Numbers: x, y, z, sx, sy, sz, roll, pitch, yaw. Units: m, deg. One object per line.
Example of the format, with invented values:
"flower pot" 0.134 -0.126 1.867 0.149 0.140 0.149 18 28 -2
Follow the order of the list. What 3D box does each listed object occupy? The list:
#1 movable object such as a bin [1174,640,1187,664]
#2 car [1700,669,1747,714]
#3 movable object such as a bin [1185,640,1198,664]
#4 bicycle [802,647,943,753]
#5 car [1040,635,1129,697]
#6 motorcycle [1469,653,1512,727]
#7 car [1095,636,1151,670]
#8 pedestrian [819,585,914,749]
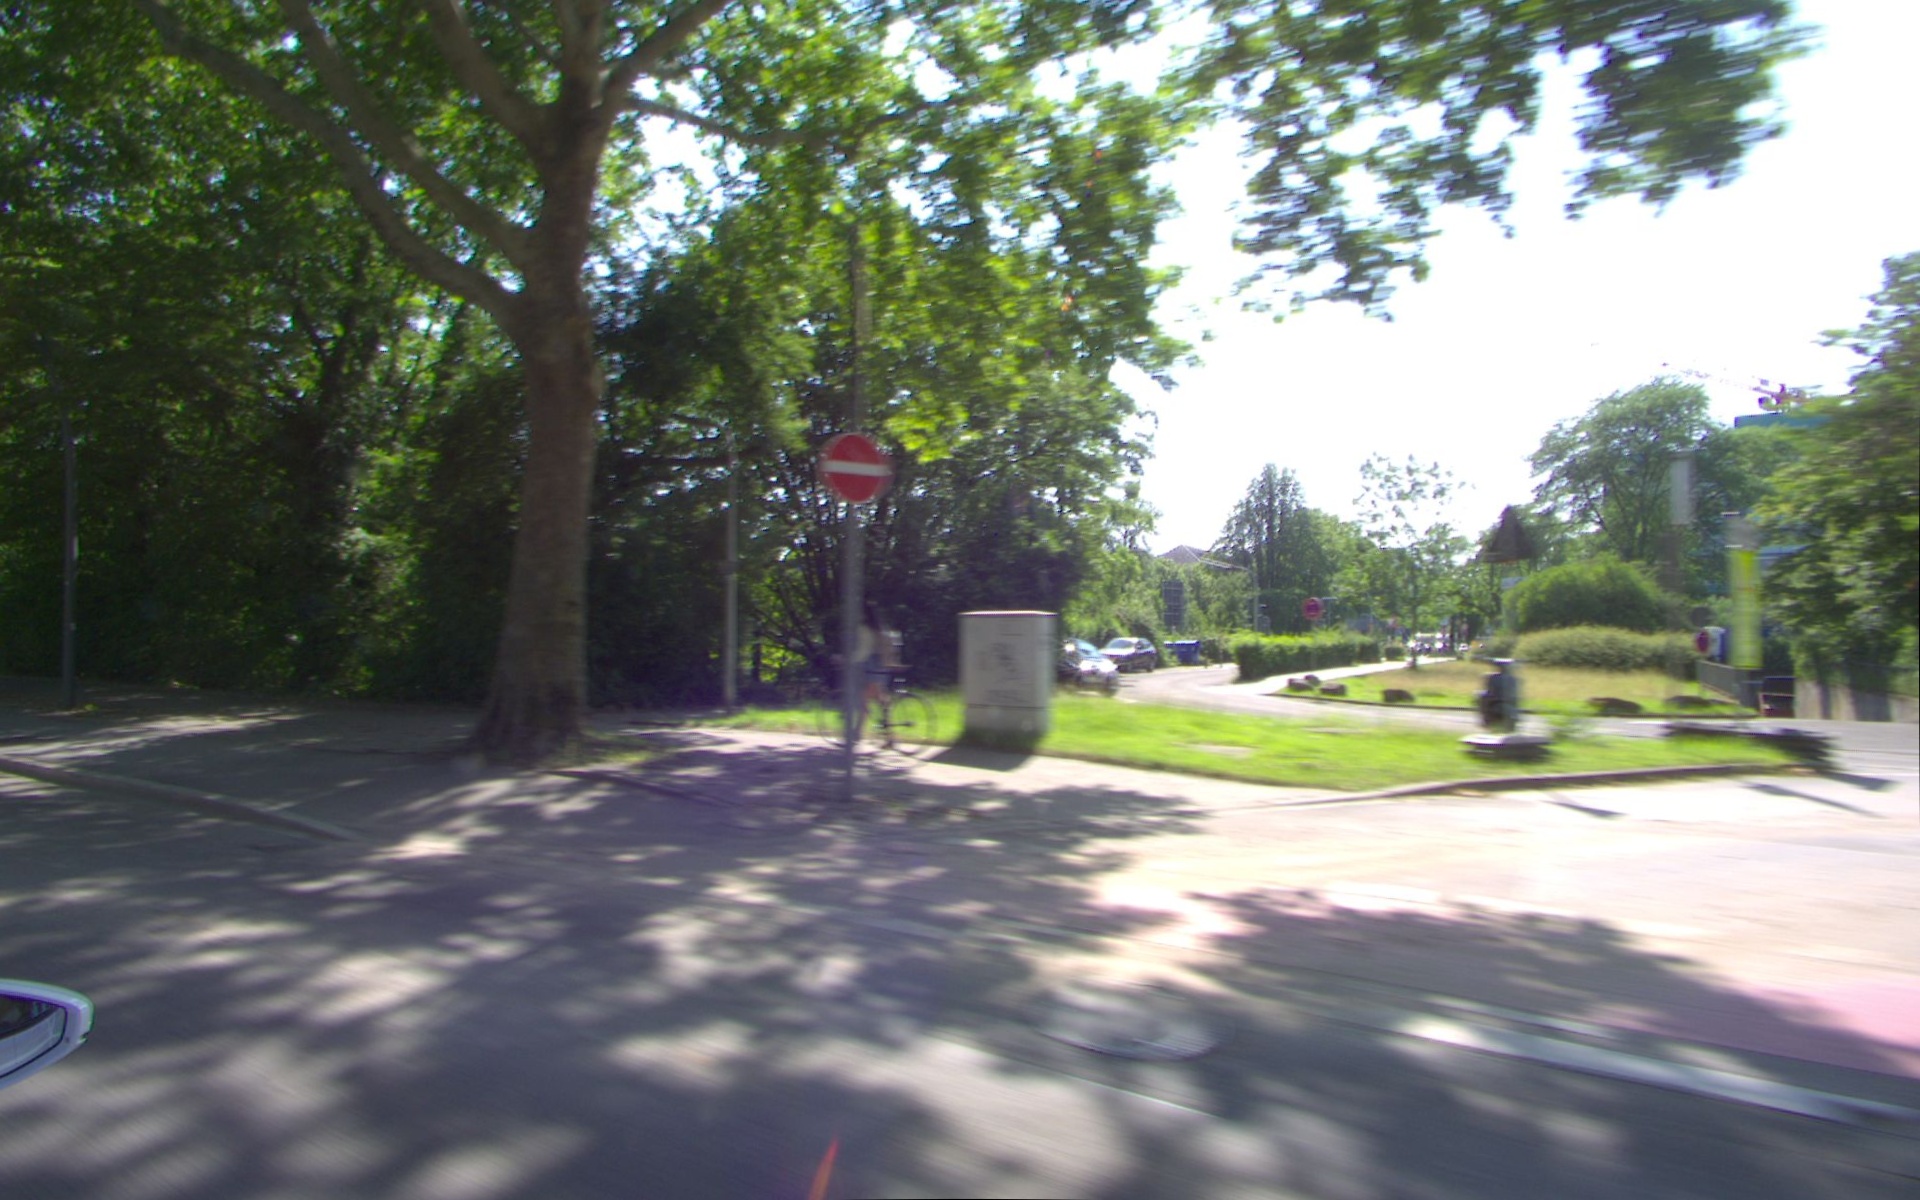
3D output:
"movable object such as a bin" 12.869 3.049 58.444 0.569 1.388 0.458 0 -1 39
"car" 43.213 5.139 56.753 1.745 2.343 4.499 0 -2 32
"movable object such as a bin" 13.395 3.033 57.993 0.569 1.377 0.458 0 -1 39
"bicycle" -0.996 1.080 11.126 1.674 1.095 0.349 0 -2 32
"car" 3.121 1.643 25.789 1.651 1.472 4.002 1 -2 -2
"motorcycle" 7.440 1.242 14.076 0.463 0.980 1.220 0 -2 25
"car" 7.508 2.403 45.893 1.655 1.472 3.992 0 -2 23
"pedestrian" -1.071 0.759 11.536 0.861 1.808 0.631 0 -2 32
